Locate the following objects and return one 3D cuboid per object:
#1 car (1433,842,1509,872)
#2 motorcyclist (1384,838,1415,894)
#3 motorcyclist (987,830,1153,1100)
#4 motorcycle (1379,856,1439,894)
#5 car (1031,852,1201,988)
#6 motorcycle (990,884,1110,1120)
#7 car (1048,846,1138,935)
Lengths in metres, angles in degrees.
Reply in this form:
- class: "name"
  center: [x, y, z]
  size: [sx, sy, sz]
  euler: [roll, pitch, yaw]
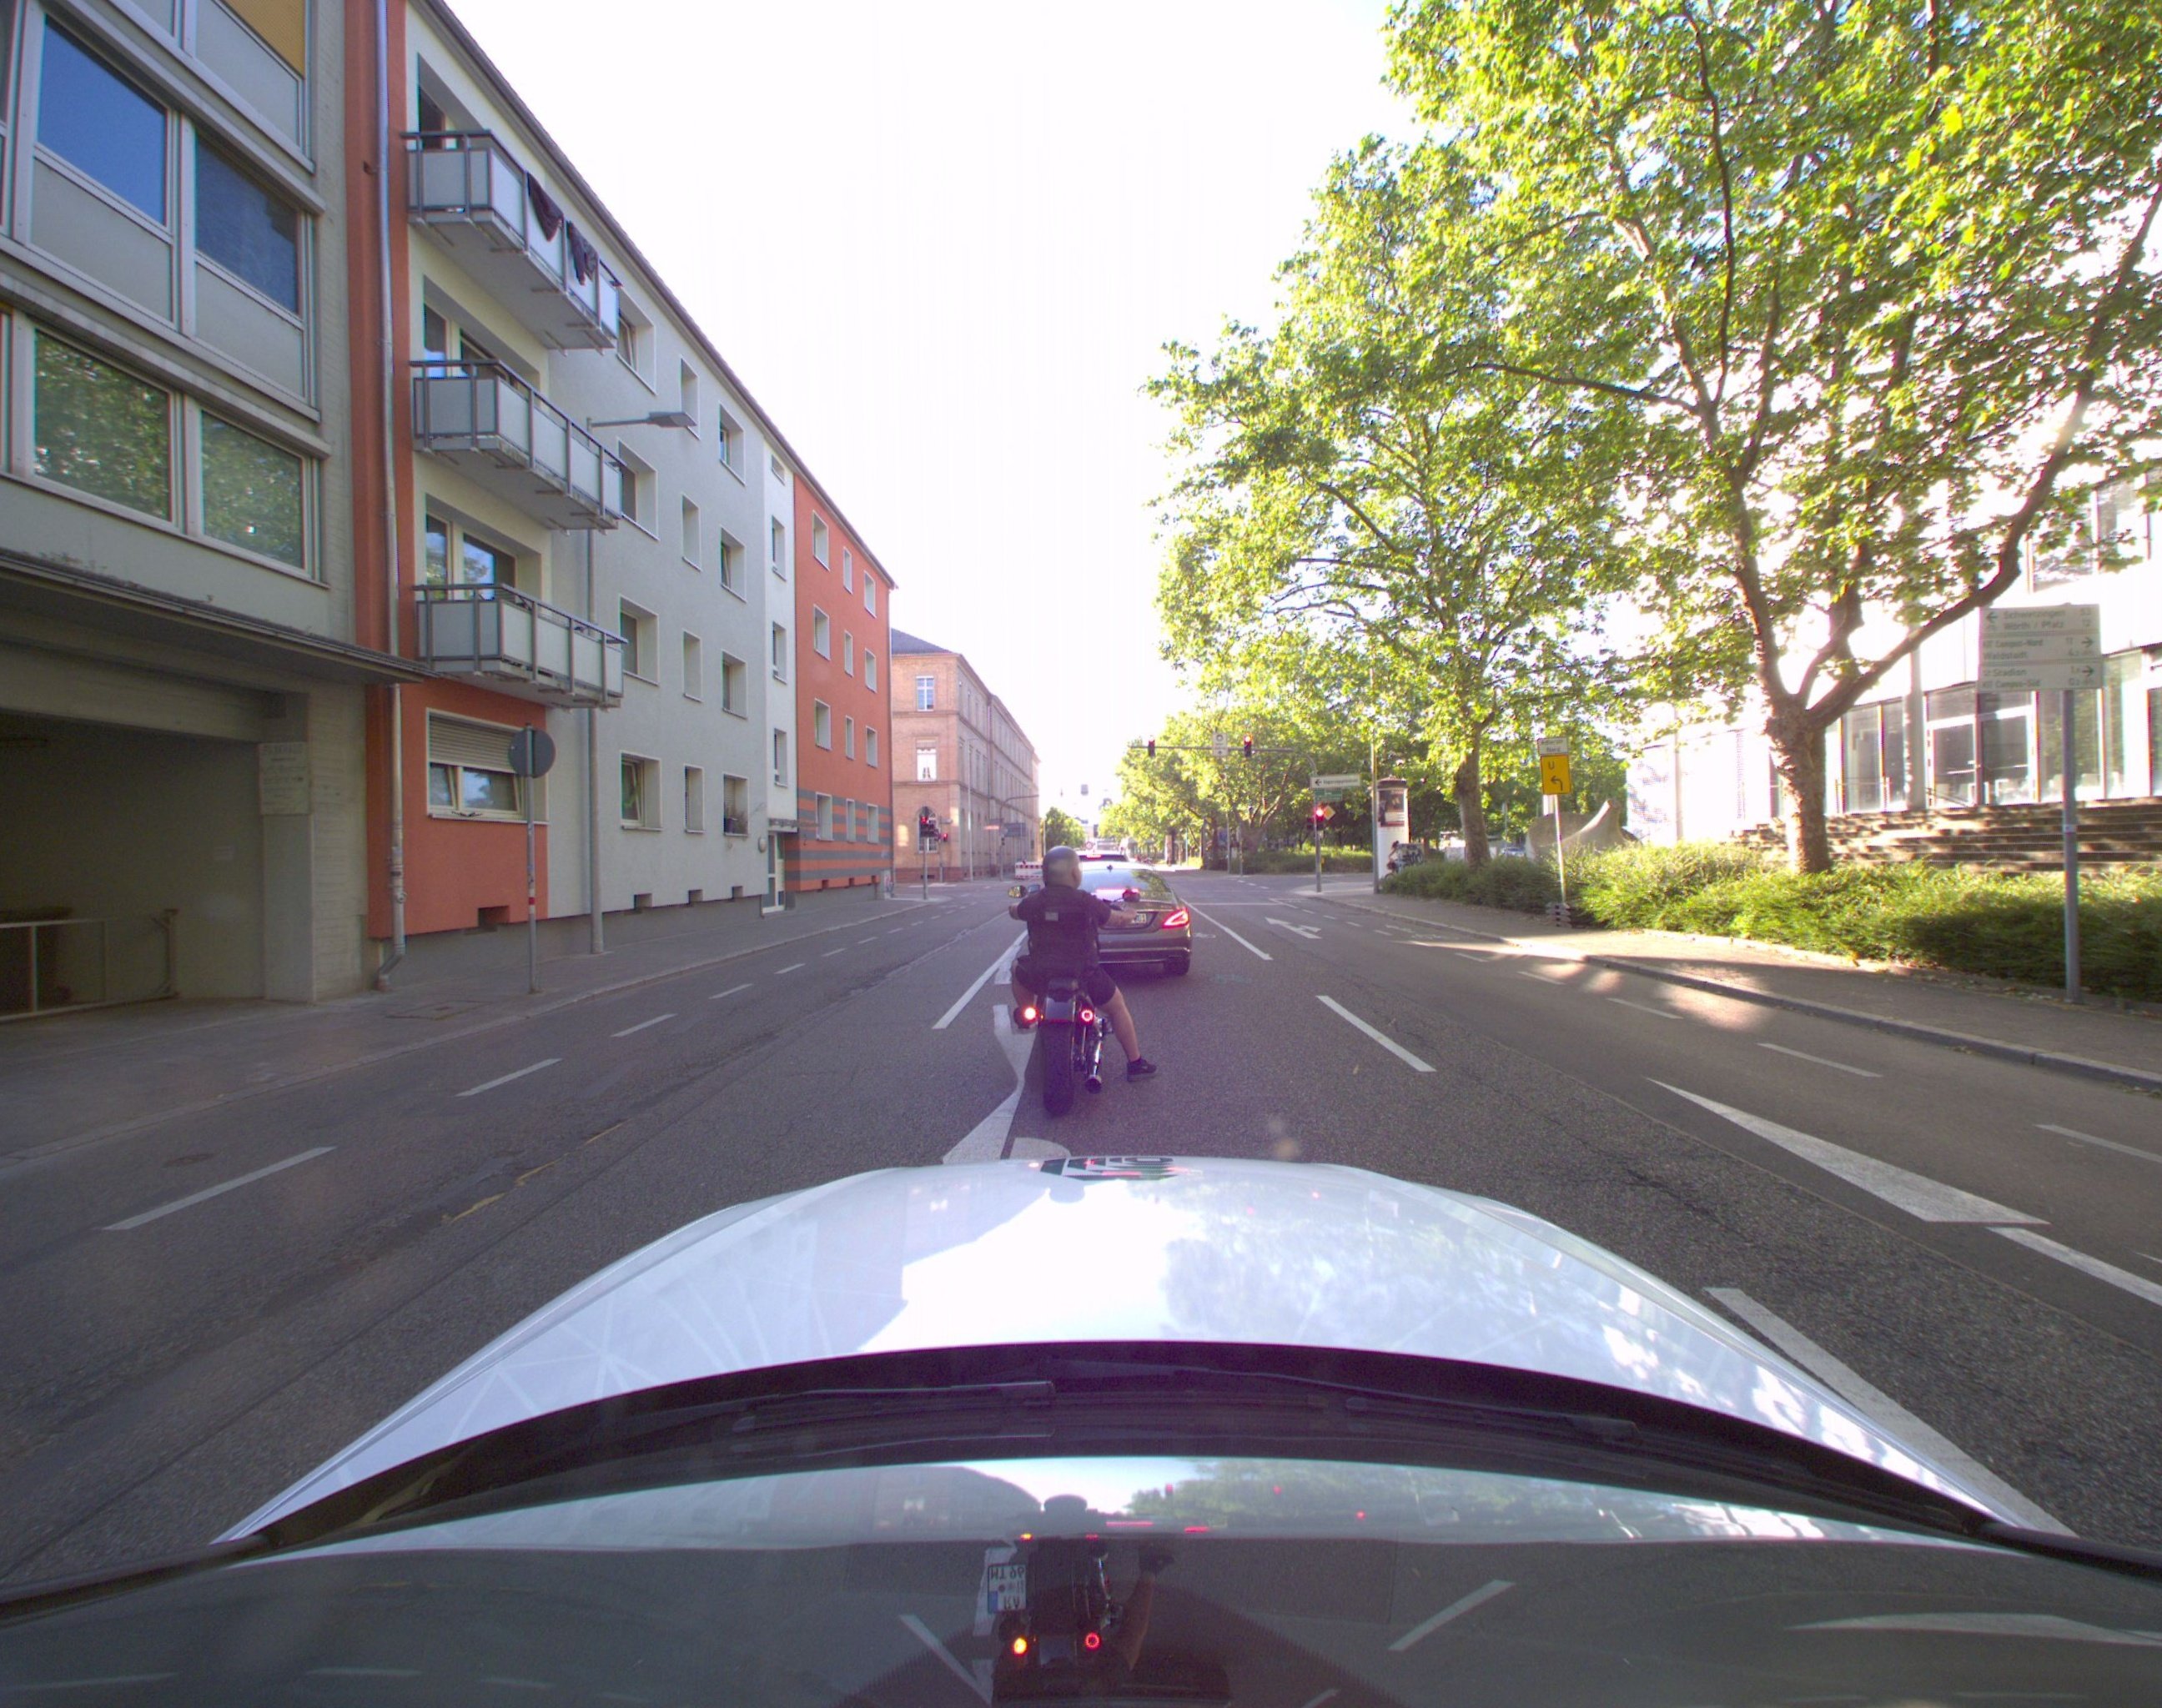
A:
- class: "car"
  center: [24.632, 0.205, 51.528]
  size: [3.974, 1.772, 1.738]
  euler: [-1, 0, -1]
- class: "motorcyclist"
  center: [10.770, 0.393, 27.573]
  size: [0.818, 1.863, 0.673]
  euler: [0, -1, 7]
- class: "motorcyclist"
  center: [-0.051, 0.672, 5.453]
  size: [0.986, 1.611, 1.121]
  euler: [0, -1, 1]
- class: "motorcycle"
  center: [11.074, 0.712, 27.549]
  size: [1.771, 1.243, 0.724]
  euler: [0, -1, 7]
- class: "car"
  center: [0.263, 0.746, 11.249]
  size: [1.821, 1.486, 4.325]
  euler: [0, 0, -5]
- class: "motorcycle"
  center: [-0.139, 0.858, 5.546]
  size: [0.657, 1.240, 2.058]
  euler: [0, -1, 2]
- class: "car"
  center: [0.289, 0.690, 17.100]
  size: [1.645, 1.652, 4.002]
  euler: [0, -1, 2]
